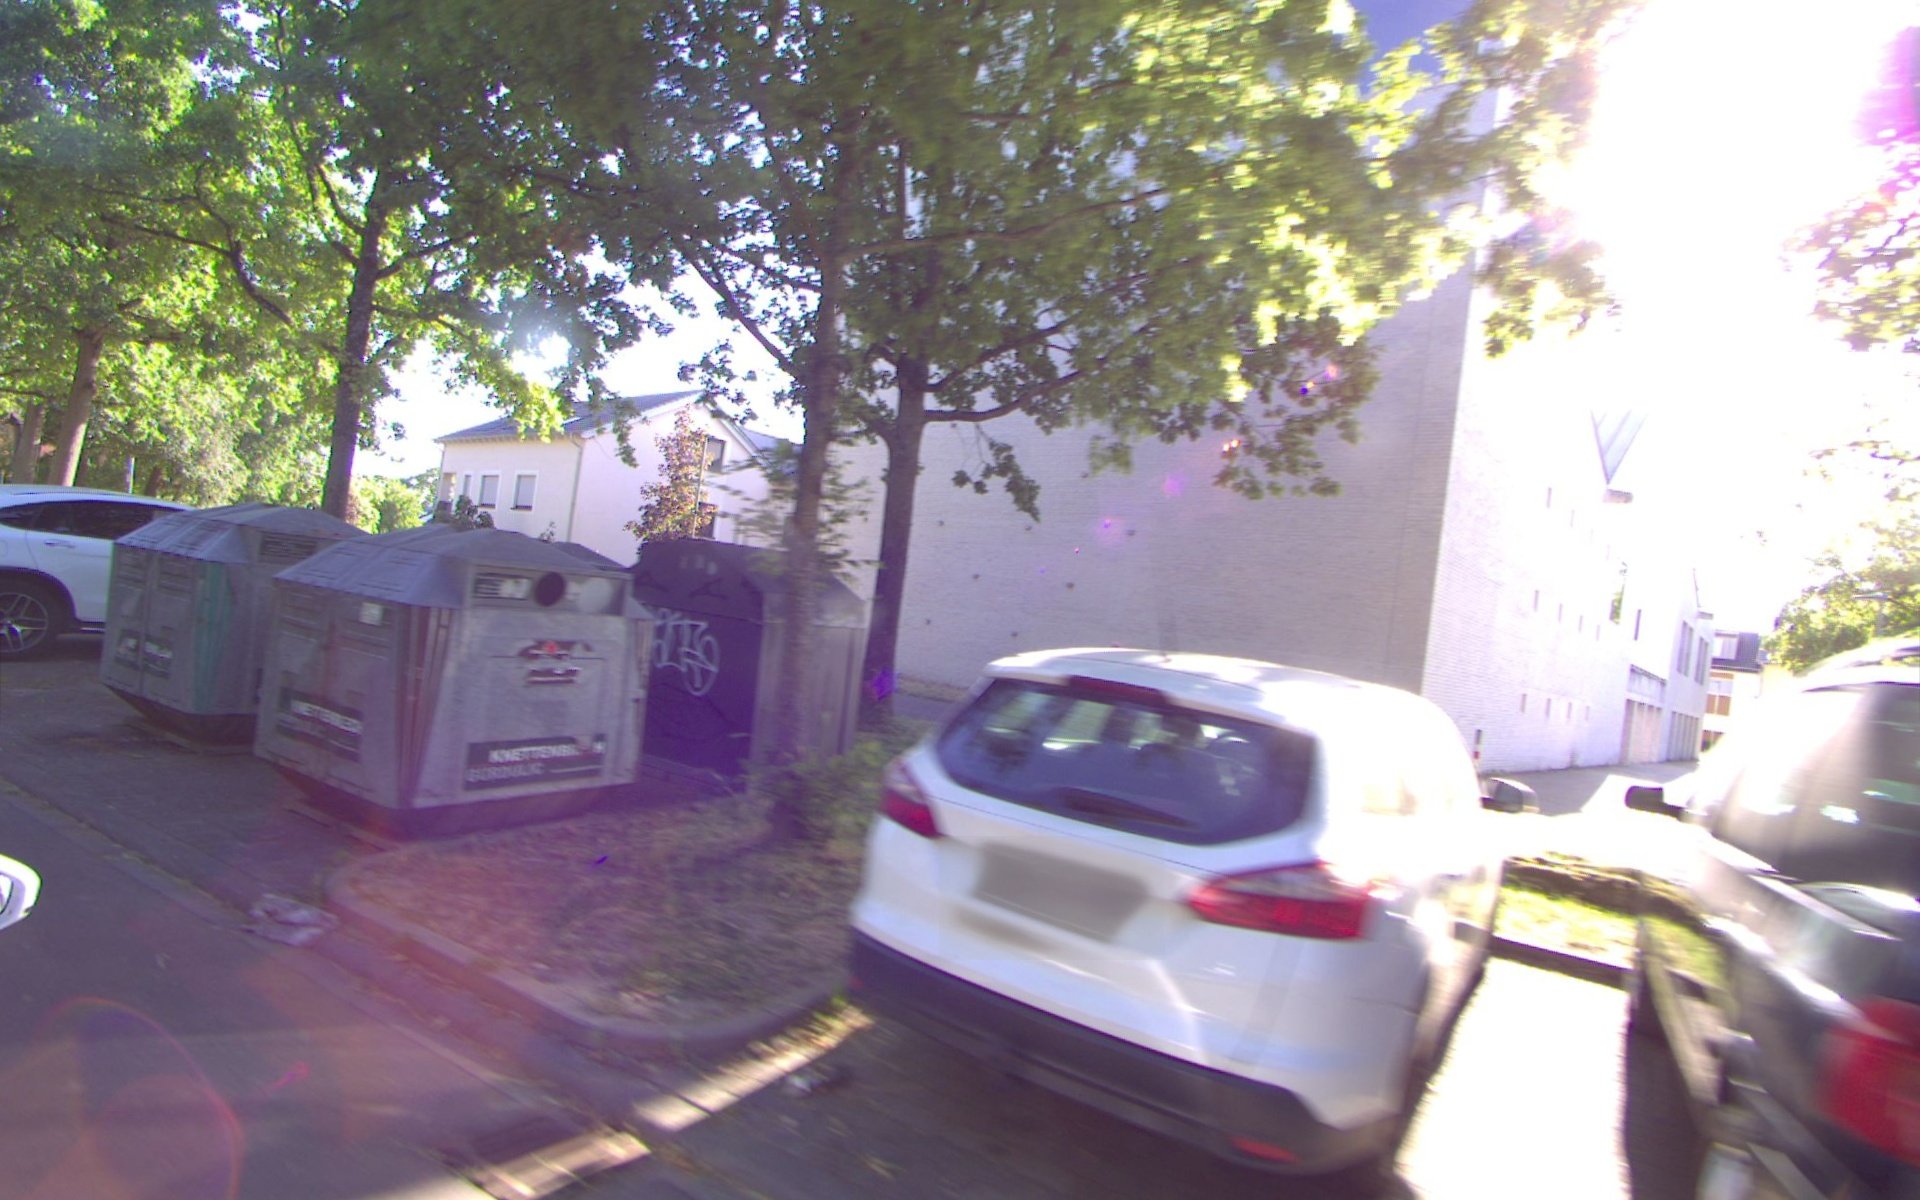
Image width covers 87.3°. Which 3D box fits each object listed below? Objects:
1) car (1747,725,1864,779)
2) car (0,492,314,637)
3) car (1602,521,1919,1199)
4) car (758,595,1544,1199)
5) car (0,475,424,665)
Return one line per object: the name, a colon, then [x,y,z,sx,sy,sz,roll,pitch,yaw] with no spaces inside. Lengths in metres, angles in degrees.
car: [56.928,10.237,67.871,2.322,2.639,5.431,9,-3,-28]
car: [-11.000,-0.478,12.411,1.884,1.473,4.678,7,0,30]
car: [3.260,1.054,3.018,1.904,1.823,4.537,7,-1,31]
car: [1.328,0.973,4.345,1.770,1.490,4.225,7,0,32]
car: [-8.447,-0.287,10.456,1.885,1.600,4.676,7,0,31]
